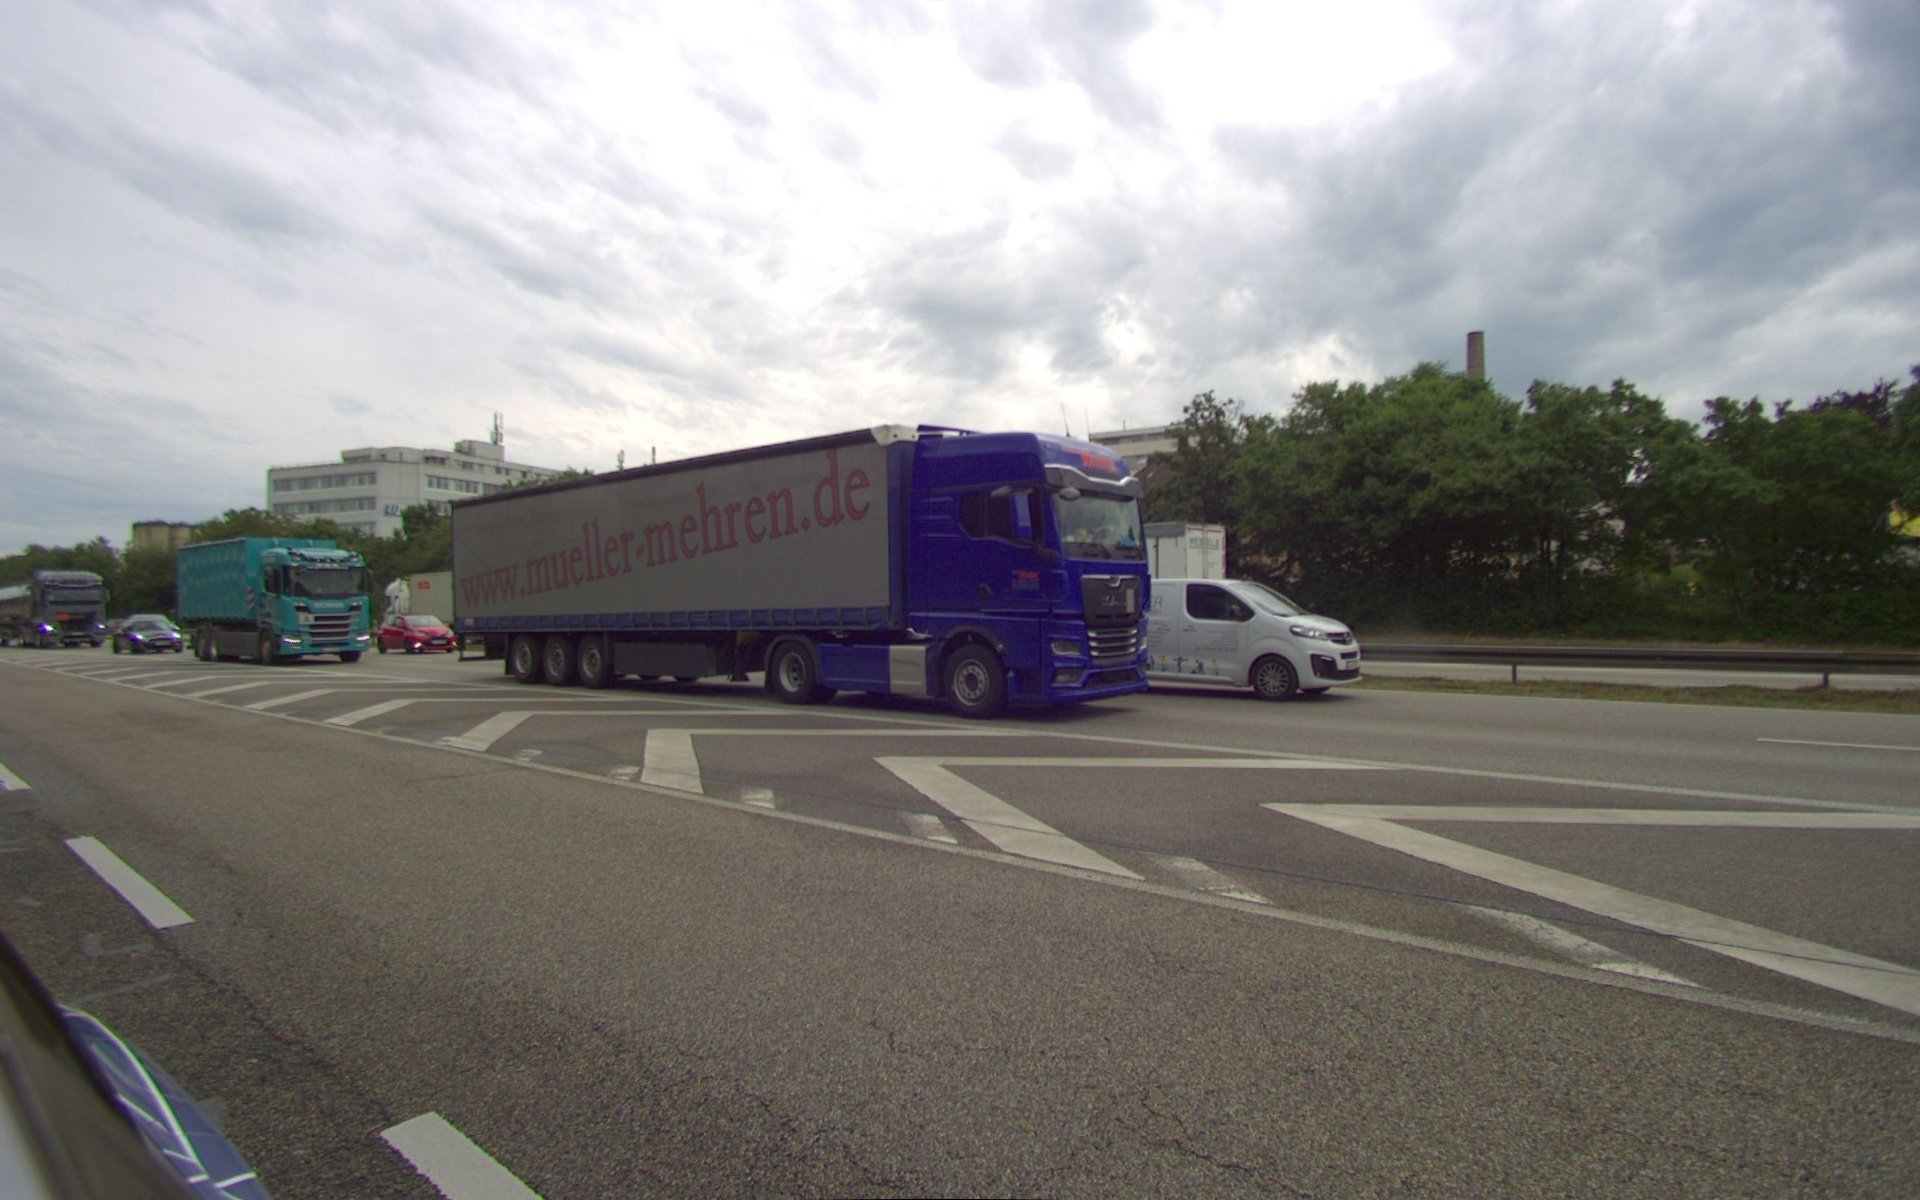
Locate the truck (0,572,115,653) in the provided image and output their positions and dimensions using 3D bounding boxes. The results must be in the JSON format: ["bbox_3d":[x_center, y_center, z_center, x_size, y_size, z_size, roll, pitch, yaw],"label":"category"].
[{"bbox_3d":[-49.541,0.742,54.536,13.122,3.955,3.289,-1,-1,37],"label":"truck"}]

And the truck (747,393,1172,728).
[{"bbox_3d":[-0.187,-0.418,14.952,5.921,3.991,2.642,-1,-1,39],"label":"truck"}]

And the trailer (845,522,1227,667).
[{"bbox_3d":[1.826,-0.022,33.402,13.775,4.012,2.567,-1,-1,41],"label":"trailer"}]

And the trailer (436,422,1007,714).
[{"bbox_3d":[-5.503,-0.313,19.272,13.904,4.005,2.647,-1,-1,39],"label":"trailer"}]

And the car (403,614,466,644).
[{"bbox_3d":[-26.674,1.458,51.331,3.446,1.429,1.724,-1,-1,41],"label":"car"}]

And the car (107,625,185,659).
[{"bbox_3d":[-34.203,1.718,42.506,3.995,1.332,1.735,-1,-1,38],"label":"car"}]

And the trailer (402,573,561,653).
[{"bbox_3d":[-26.897,0.806,56.376,13.057,4.060,2.375,-1,-1,38],"label":"trailer"}]

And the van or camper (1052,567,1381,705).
[{"bbox_3d":[4.044,0.557,16.489,4.846,1.935,1.901,-1,-1,40],"label":"van or camper"}]

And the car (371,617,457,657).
[{"bbox_3d":[-20.236,1.348,37.479,3.446,1.429,1.724,-1,-1,41],"label":"car"}]

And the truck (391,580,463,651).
[{"bbox_3d":[-31.618,0.925,60.023,3.994,4.051,2.383,-1,-1,37],"label":"truck"}]

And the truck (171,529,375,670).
[{"bbox_3d":[-22.612,0.083,32.998,10.112,4.031,2.667,-1,-1,39],"label":"truck"}]
